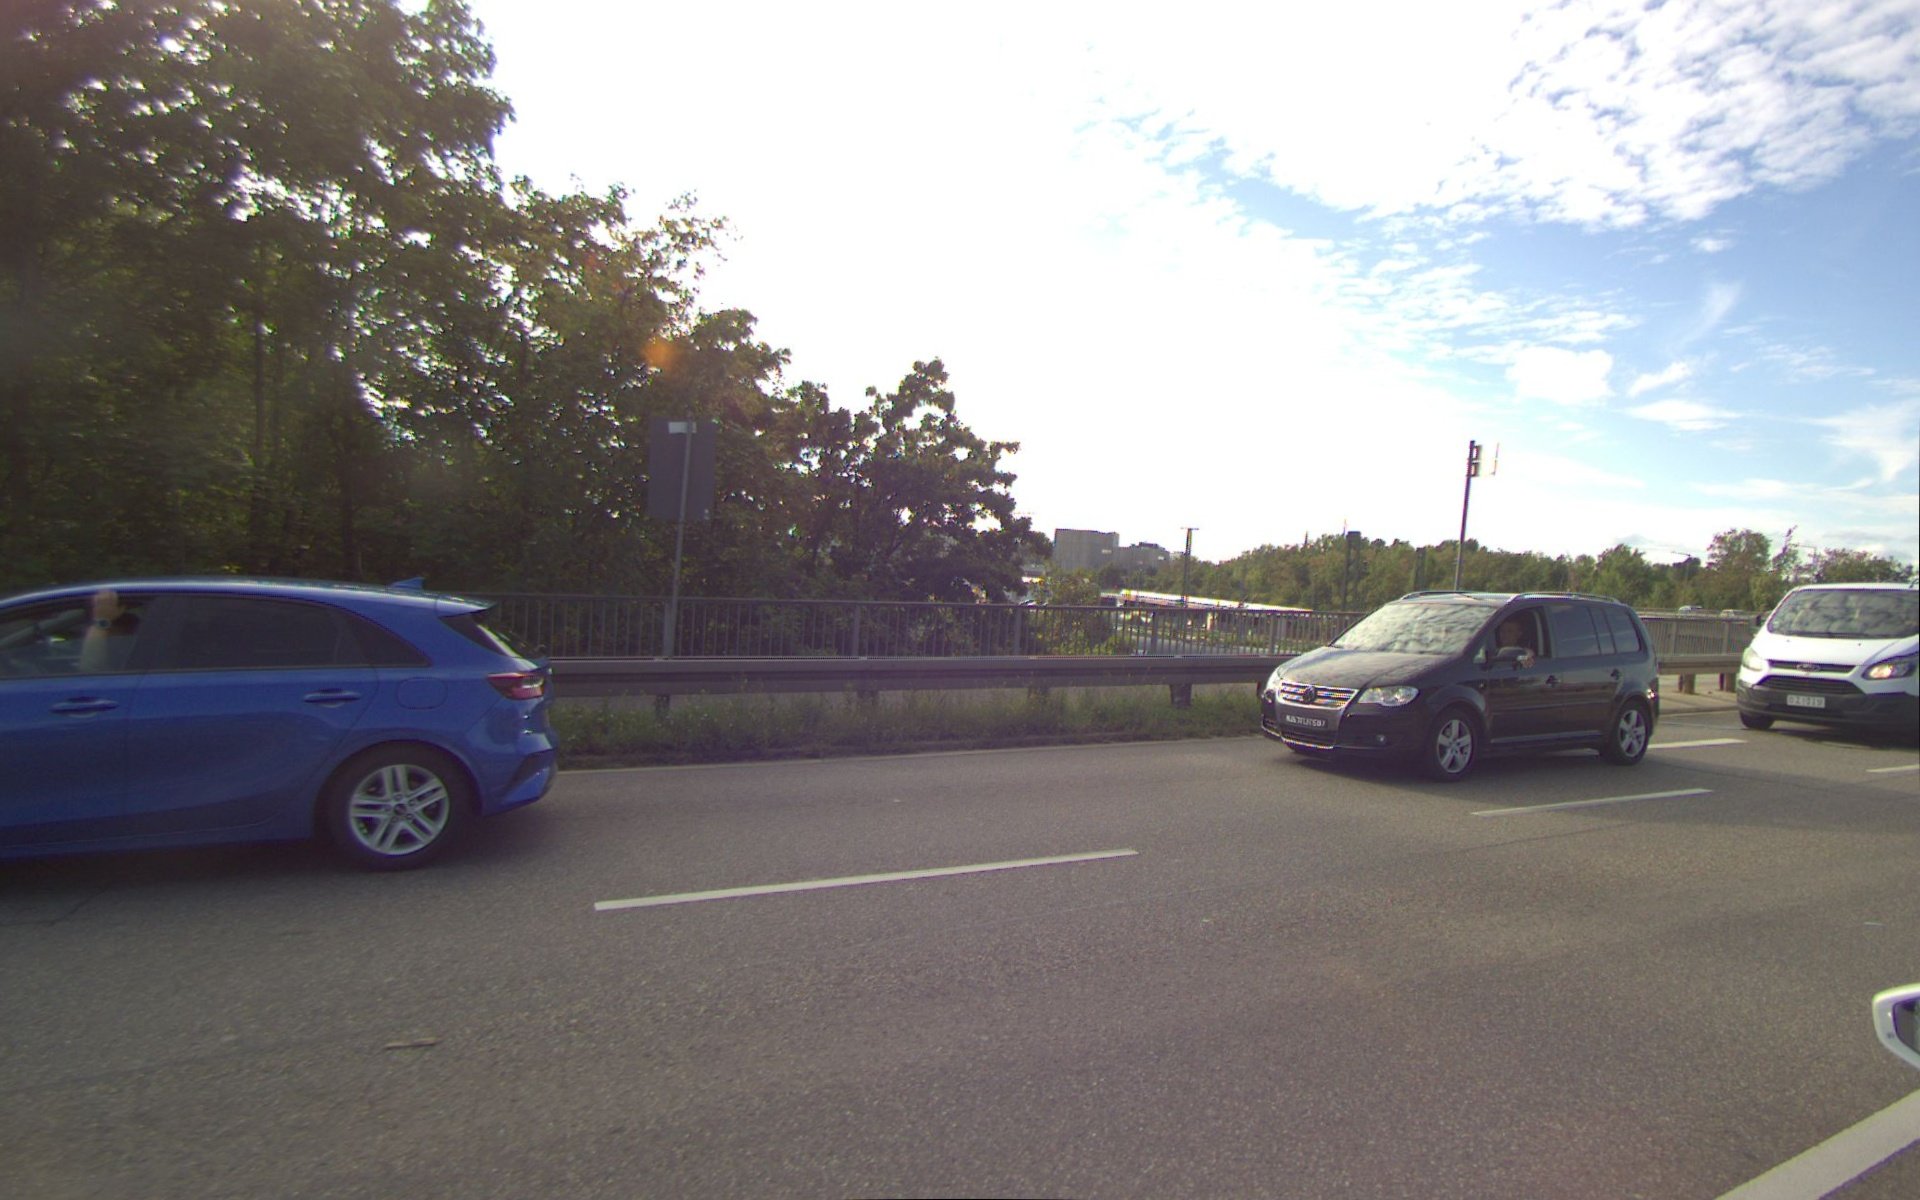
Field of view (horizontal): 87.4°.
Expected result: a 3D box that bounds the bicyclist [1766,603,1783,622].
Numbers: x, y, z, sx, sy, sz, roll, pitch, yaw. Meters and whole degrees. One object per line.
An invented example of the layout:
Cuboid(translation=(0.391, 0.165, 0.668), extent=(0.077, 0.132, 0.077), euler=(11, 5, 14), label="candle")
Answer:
Cuboid(translation=(73.648, 1.127, 90.880), extent=(0.753, 1.683, 1.120), euler=(2, 1, 16), label="bicyclist")

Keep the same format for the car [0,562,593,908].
Cuboid(translation=(-4.265, 0.558, 5.208), extent=(4.301, 1.467, 1.887), euler=(1, 1, -25), label="car")

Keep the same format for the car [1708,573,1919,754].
Cuboid(translation=(12.214, 0.723, 13.198), extent=(4.988, 1.990, 1.976), euler=(1, 1, -30), label="car")

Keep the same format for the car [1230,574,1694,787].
Cuboid(translation=(4.896, 0.655, 9.696), extent=(4.396, 1.676, 1.739), euler=(1, 1, -28), label="car")
